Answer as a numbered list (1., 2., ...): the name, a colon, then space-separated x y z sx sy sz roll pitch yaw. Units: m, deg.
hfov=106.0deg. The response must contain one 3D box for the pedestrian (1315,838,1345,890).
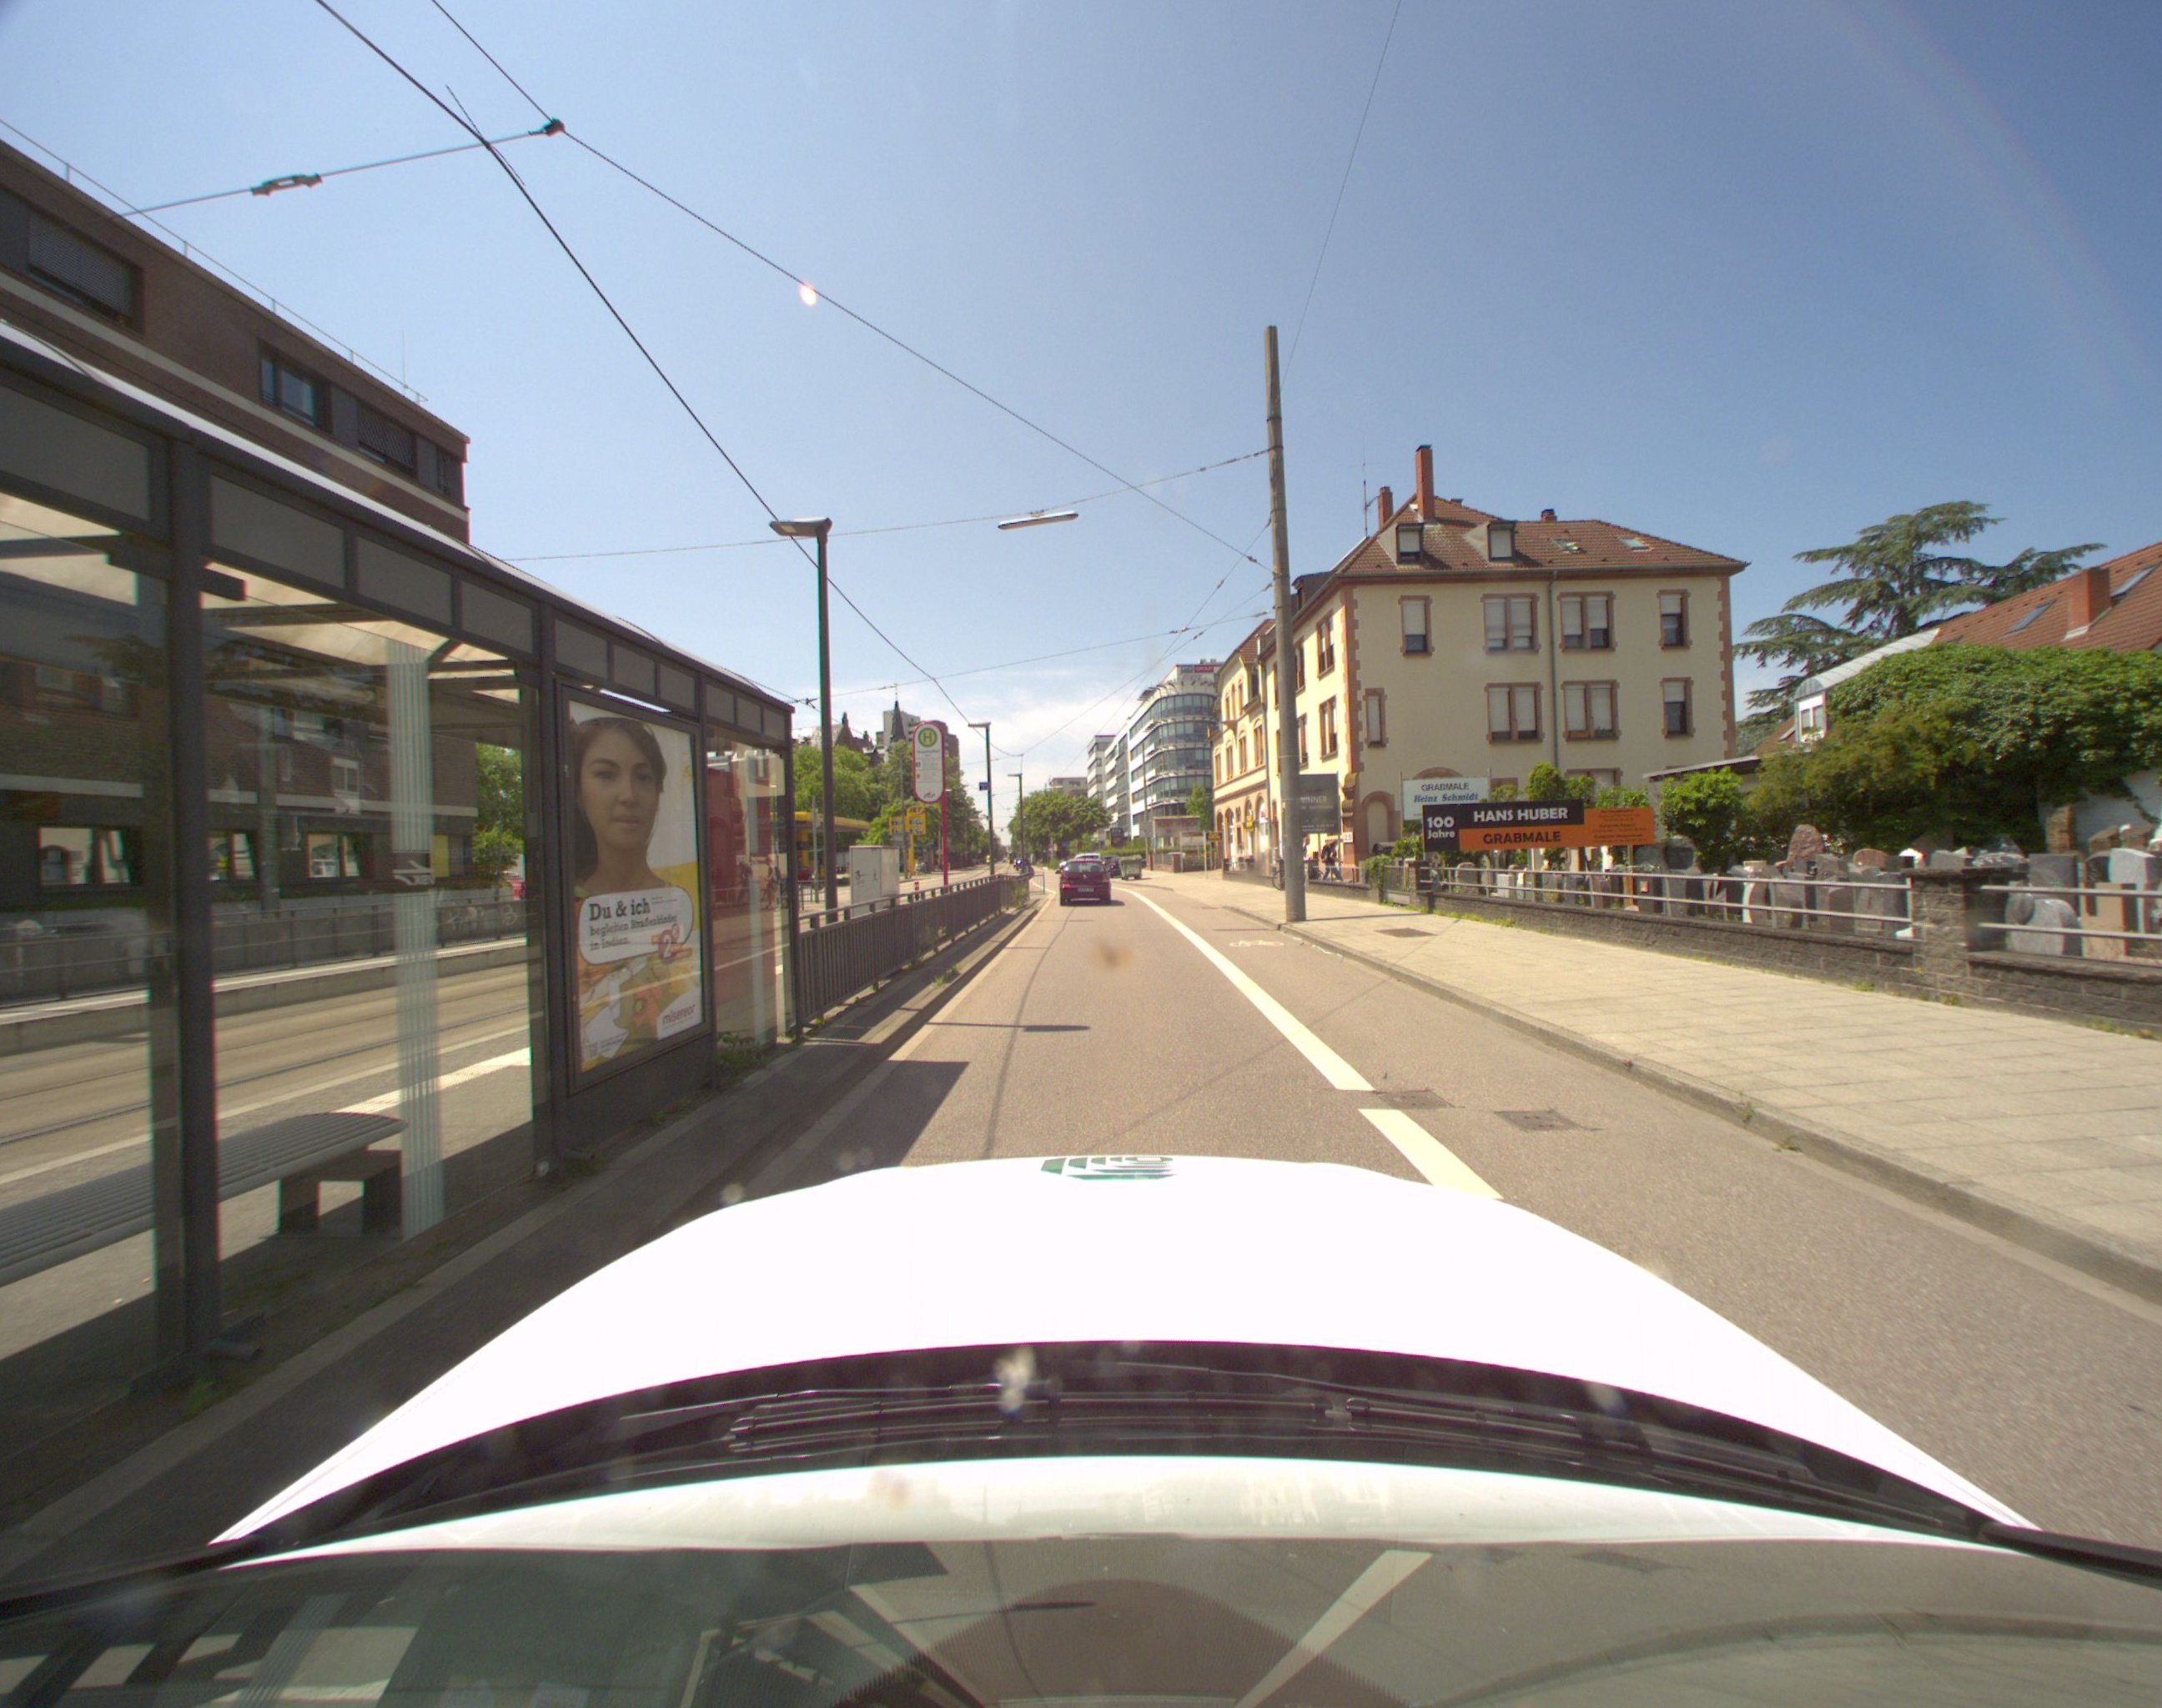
1. pedestrian: 8.285 0.331 27.126 0.819 1.691 0.591 -2 0 10

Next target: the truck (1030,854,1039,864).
1. truck: -11.871 1.296 206.644 1.990 2.662 4.866 -1 0 -5

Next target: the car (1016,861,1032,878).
1. car: -7.394 1.999 105.500 1.991 2.014 3.992 -1 0 -6

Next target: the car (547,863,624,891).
1. car: -31.871 1.485 52.387 4.229 1.746 1.901 -1 0 18

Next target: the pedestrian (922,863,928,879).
1. pedestrian: -17.577 1.894 91.746 0.579 1.775 0.697 -1 0 -8

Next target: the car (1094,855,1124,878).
1. car: 2.286 0.988 67.056 1.920 1.693 5.075 -4 0 -3

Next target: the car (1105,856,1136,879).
1. car: 2.926 0.995 61.258 1.769 1.548 4.460 -4 -1 -4

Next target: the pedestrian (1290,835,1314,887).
1. pedestrian: 7.681 0.257 28.297 0.683 1.772 0.505 -2 0 10

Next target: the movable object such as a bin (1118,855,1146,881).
1. movable object such as a bin: 3.136 0.859 49.960 1.391 1.455 1.136 -4 0 -8

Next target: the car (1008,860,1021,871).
1. car: -11.231 1.900 137.404 1.990 1.739 3.994 -2 0 -4

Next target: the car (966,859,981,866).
1. car: -30.238 2.390 228.499 3.975 2.013 1.999 -2 0 -1

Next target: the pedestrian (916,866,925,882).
1. pedestrian: -17.142 2.088 86.798 0.620 1.691 0.725 -2 0 13

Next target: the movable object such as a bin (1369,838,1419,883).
1. movable object such as a bin: 11.286 0.242 29.392 1.325 1.499 1.046 -4 0 0

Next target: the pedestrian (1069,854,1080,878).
1. pedestrian: -0.552 1.018 68.717 0.783 1.960 0.586 -2 -1 -20

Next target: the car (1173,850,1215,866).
1. car: 11.818 0.418 85.561 4.137 1.459 1.817 -2 0 -2

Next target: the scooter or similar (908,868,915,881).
1. scooter or similar: -16.030 1.954 76.910 0.518 1.200 1.373 -1 0 -7

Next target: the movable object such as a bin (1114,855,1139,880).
1. movable object such as a bin: 2.895 0.865 52.112 1.323 1.455 1.055 -4 0 -8

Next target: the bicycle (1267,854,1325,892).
1. bicycle: 7.360 0.648 27.937 1.791 1.127 0.591 -5 -1 9

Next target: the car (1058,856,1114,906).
1. car: 0.226 0.823 26.767 1.612 1.486 4.003 -1 0 3

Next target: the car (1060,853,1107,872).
1. car: 0.265 0.869 82.838 4.533 1.799 1.995 -2 0 -7

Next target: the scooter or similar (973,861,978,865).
1. scooter or similar: -26.152 2.211 201.850 1.094 1.155 0.523 0 -1 -26
